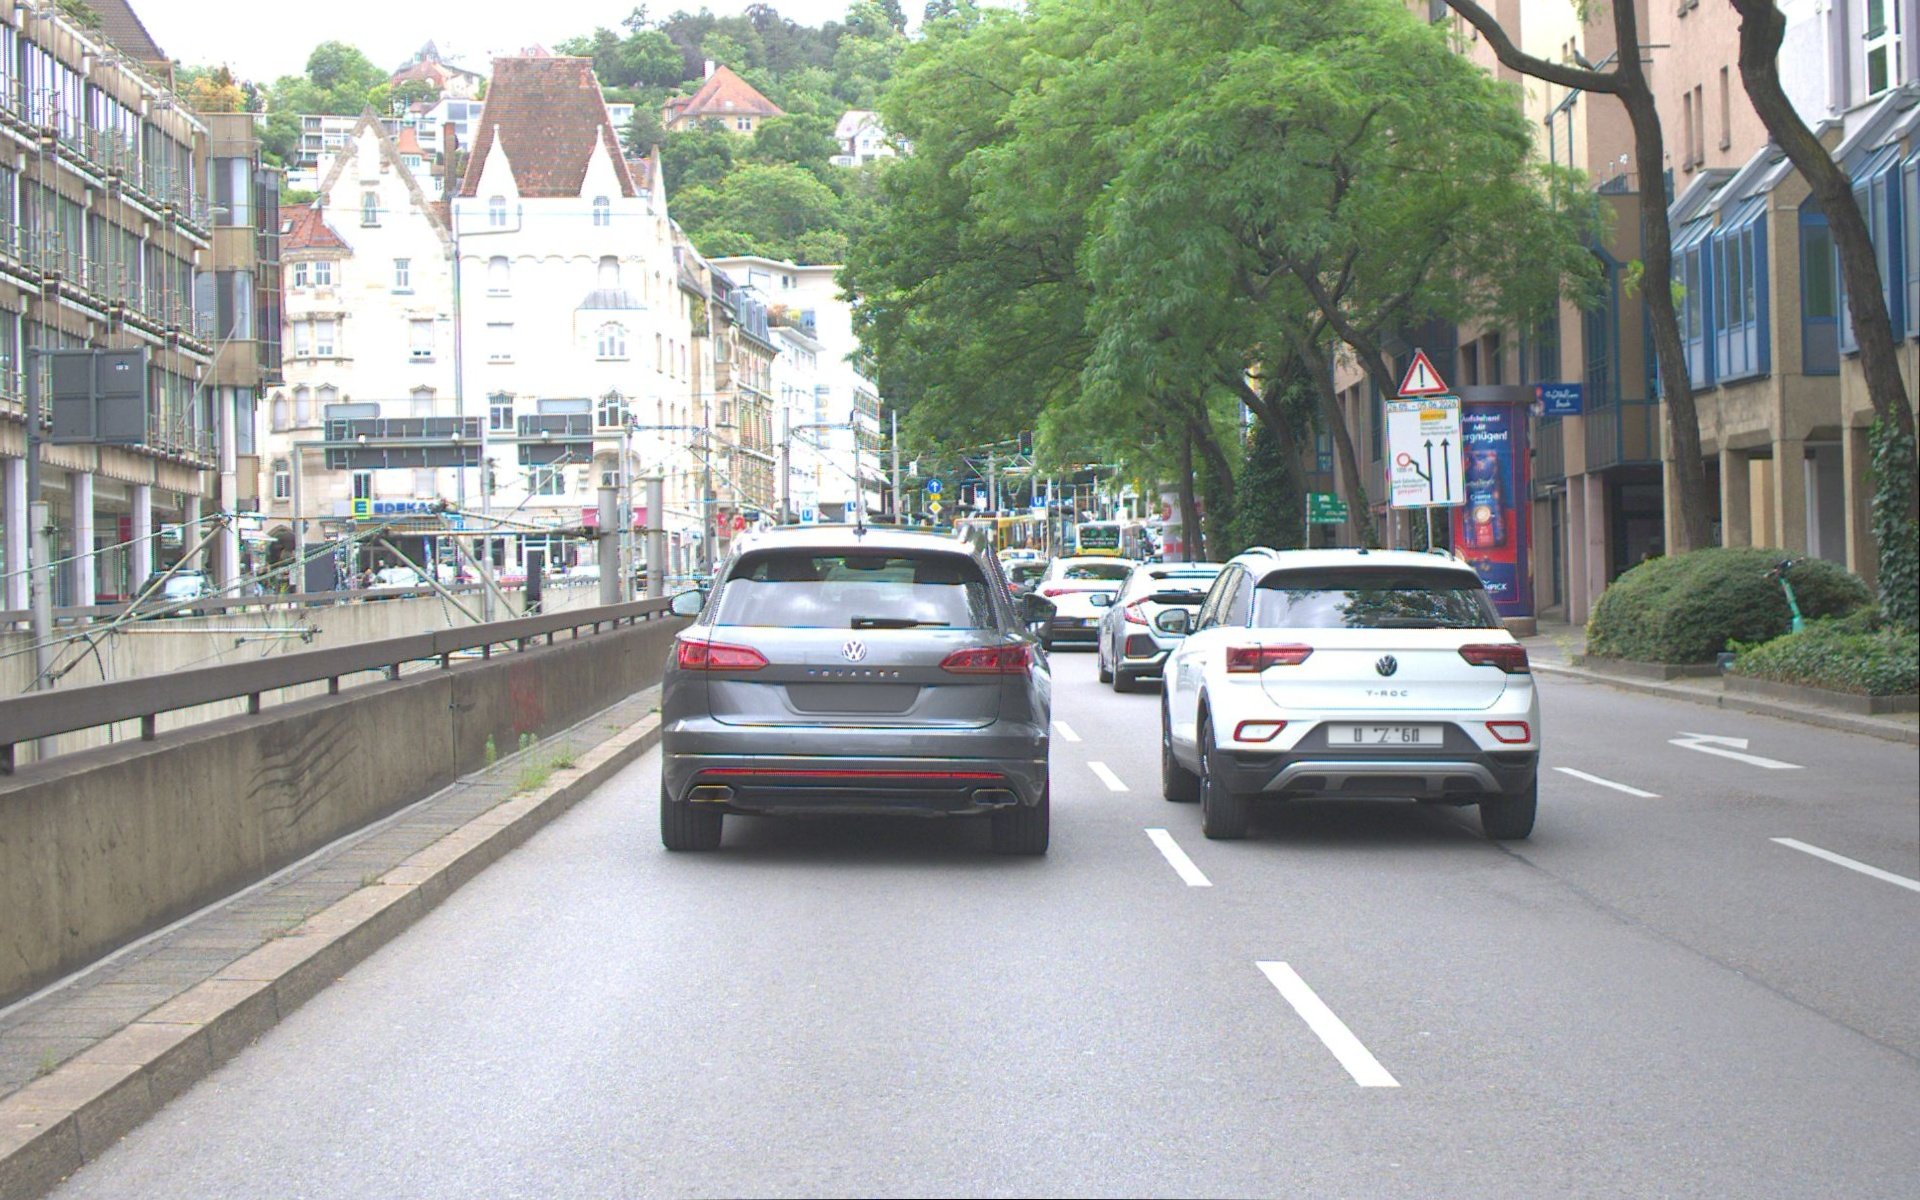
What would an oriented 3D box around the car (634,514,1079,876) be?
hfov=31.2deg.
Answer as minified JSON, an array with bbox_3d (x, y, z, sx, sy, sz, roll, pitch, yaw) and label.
[{"bbox_3d":[-0.678,0.417,18.299,1.970,1.690,4.225,1,1,-7],"label":"car"}]

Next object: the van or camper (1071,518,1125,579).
[{"bbox_3d":[7.425,-2.775,183.988,2.628,3.167,5.802,-1,1,4],"label":"van or camper"}]

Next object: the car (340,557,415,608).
[{"bbox_3d":[-21.241,-0.651,125.483,1.993,1.762,4.281,-1,1,-1],"label":"car"}]

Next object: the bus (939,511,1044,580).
[{"bbox_3d":[1.860,-3.016,189.467,3.851,3.520,17.241,-1,1,7],"label":"bus"}]

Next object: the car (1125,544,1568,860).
[{"bbox_3d":[2.067,0.491,19.485,1.797,1.540,3.936,1,1,-4],"label":"car"}]

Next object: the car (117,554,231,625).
[{"bbox_3d":[-20.459,-0.297,89.630,1.993,1.762,4.281,-1,1,-1],"label":"car"}]

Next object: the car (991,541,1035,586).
[{"bbox_3d":[2.318,-1.593,151.175,1.832,1.868,4.870,-2,1,1],"label":"car"}]

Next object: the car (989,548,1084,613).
[{"bbox_3d":[1.682,-0.438,76.594,1.832,1.358,3.767,-2,1,-2],"label":"car"}]

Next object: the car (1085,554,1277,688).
[{"bbox_3d":[2.434,0.236,38.800,1.833,1.427,4.147,0,0,-1],"label":"car"}]

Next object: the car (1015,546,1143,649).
[{"bbox_3d":[1.842,-0.057,54.222,1.832,1.512,3.767,-2,1,0],"label":"car"}]

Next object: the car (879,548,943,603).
[{"bbox_3d":[-1.497,-0.757,104.107,1.832,1.561,3.767,-2,1,-2],"label":"car"}]
